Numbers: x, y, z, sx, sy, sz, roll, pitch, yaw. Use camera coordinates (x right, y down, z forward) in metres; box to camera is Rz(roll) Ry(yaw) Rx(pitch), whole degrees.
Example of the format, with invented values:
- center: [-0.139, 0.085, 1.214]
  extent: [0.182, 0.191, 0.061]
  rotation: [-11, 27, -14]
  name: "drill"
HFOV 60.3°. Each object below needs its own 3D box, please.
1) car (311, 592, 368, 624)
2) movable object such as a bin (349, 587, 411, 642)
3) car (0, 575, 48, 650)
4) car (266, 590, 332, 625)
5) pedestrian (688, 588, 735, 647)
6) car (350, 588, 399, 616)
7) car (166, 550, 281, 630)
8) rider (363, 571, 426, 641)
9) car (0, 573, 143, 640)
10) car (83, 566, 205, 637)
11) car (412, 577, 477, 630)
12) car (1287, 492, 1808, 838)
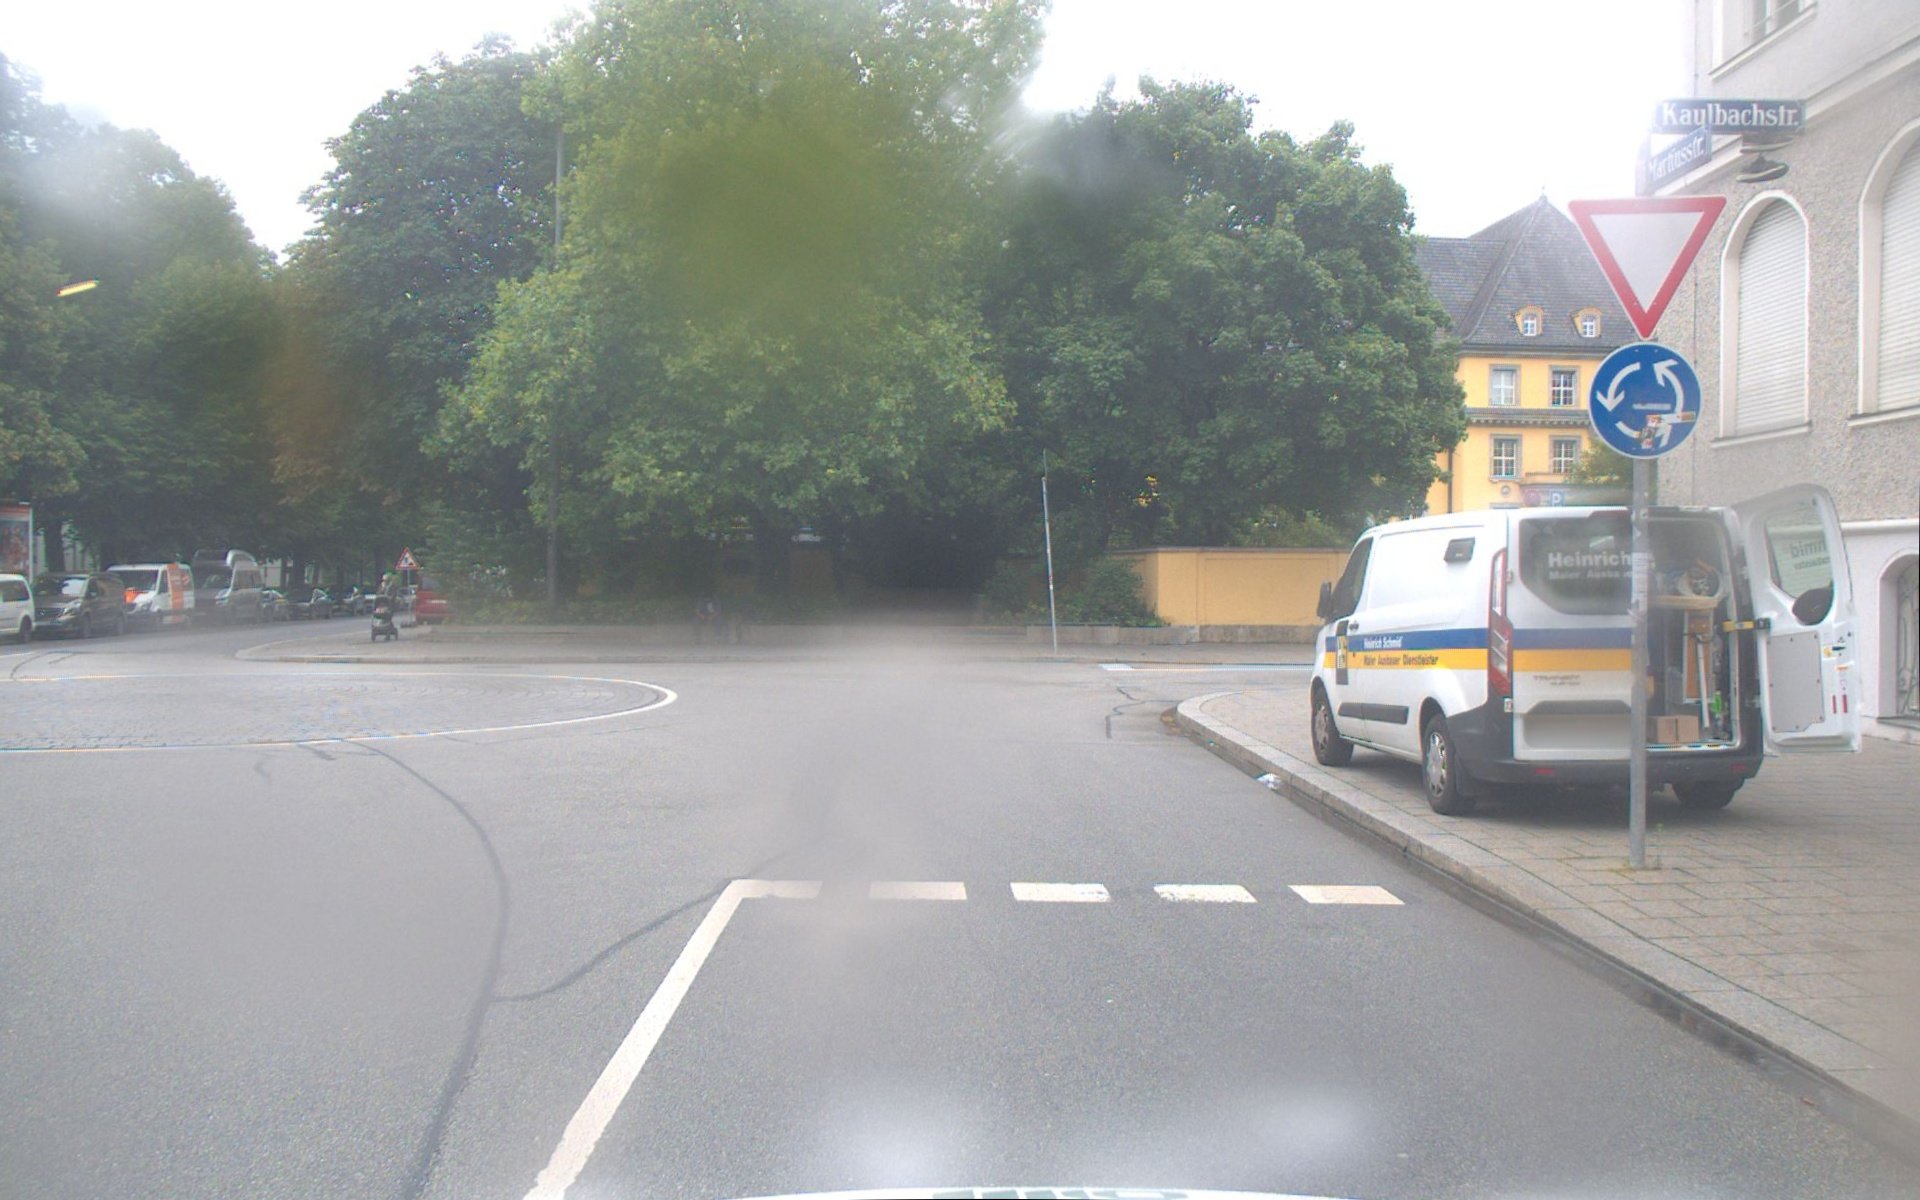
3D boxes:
- center: [-31.723, 0.394, 84.609]
  extent: [1.860, 1.599, 4.067]
  rotation: [0, 0, -8]
  name: "car"
- center: [-14.379, 0.363, 41.032]
  extent: [1.055, 1.289, 1.087]
  rotation: [-3, 0, 6]
  name: "movable object such as a bin"
- center: [-25.426, 0.317, 42.435]
  extent: [1.890, 1.928, 4.859]
  rotation: [0, 0, -8]
  name: "car"
- center: [-30.377, 0.320, 76.156]
  extent: [1.860, 1.565, 4.067]
  rotation: [0, 0, -8]
  name: "car"
- center: [-5.223, 0.362, 34.858]
  extent: [0.794, 1.209, 0.920]
  rotation: [0, 0, 4]
  name: "pedestrian"
- center: [-33.880, 0.093, 95.750]
  extent: [1.860, 1.599, 4.067]
  rotation: [0, 0, -8]
  name: "car"
- center: [-28.990, -0.395, 65.361]
  extent: [2.290, 2.973, 6.569]
  rotation: [0, 0, -7]
  name: "car"
- center: [-14.305, 0.147, 41.879]
  extent: [1.059, 1.696, 1.140]
  rotation: [-3, 0, 6]
  name: "rider"
- center: [-26.208, 0.171, 49.019]
  extent: [2.025, 1.891, 4.979]
  rotation: [0, 0, -7]
  name: "car"
- center: [-27.574, 0.038, 56.099]
  extent: [2.070, 2.290, 5.188]
  rotation: [0, 0, -7]
  name: "car"
- center: [-19.831, 0.099, 63.833]
  extent: [2.006, 1.956, 4.432]
  rotation: [0, 1, -12]
  name: "car"
- center: [3.967, 0.345, 12.225]
  extent: [1.877, 1.996, 4.924]
  rotation: [-1, 1, -3]
  name: "car"
